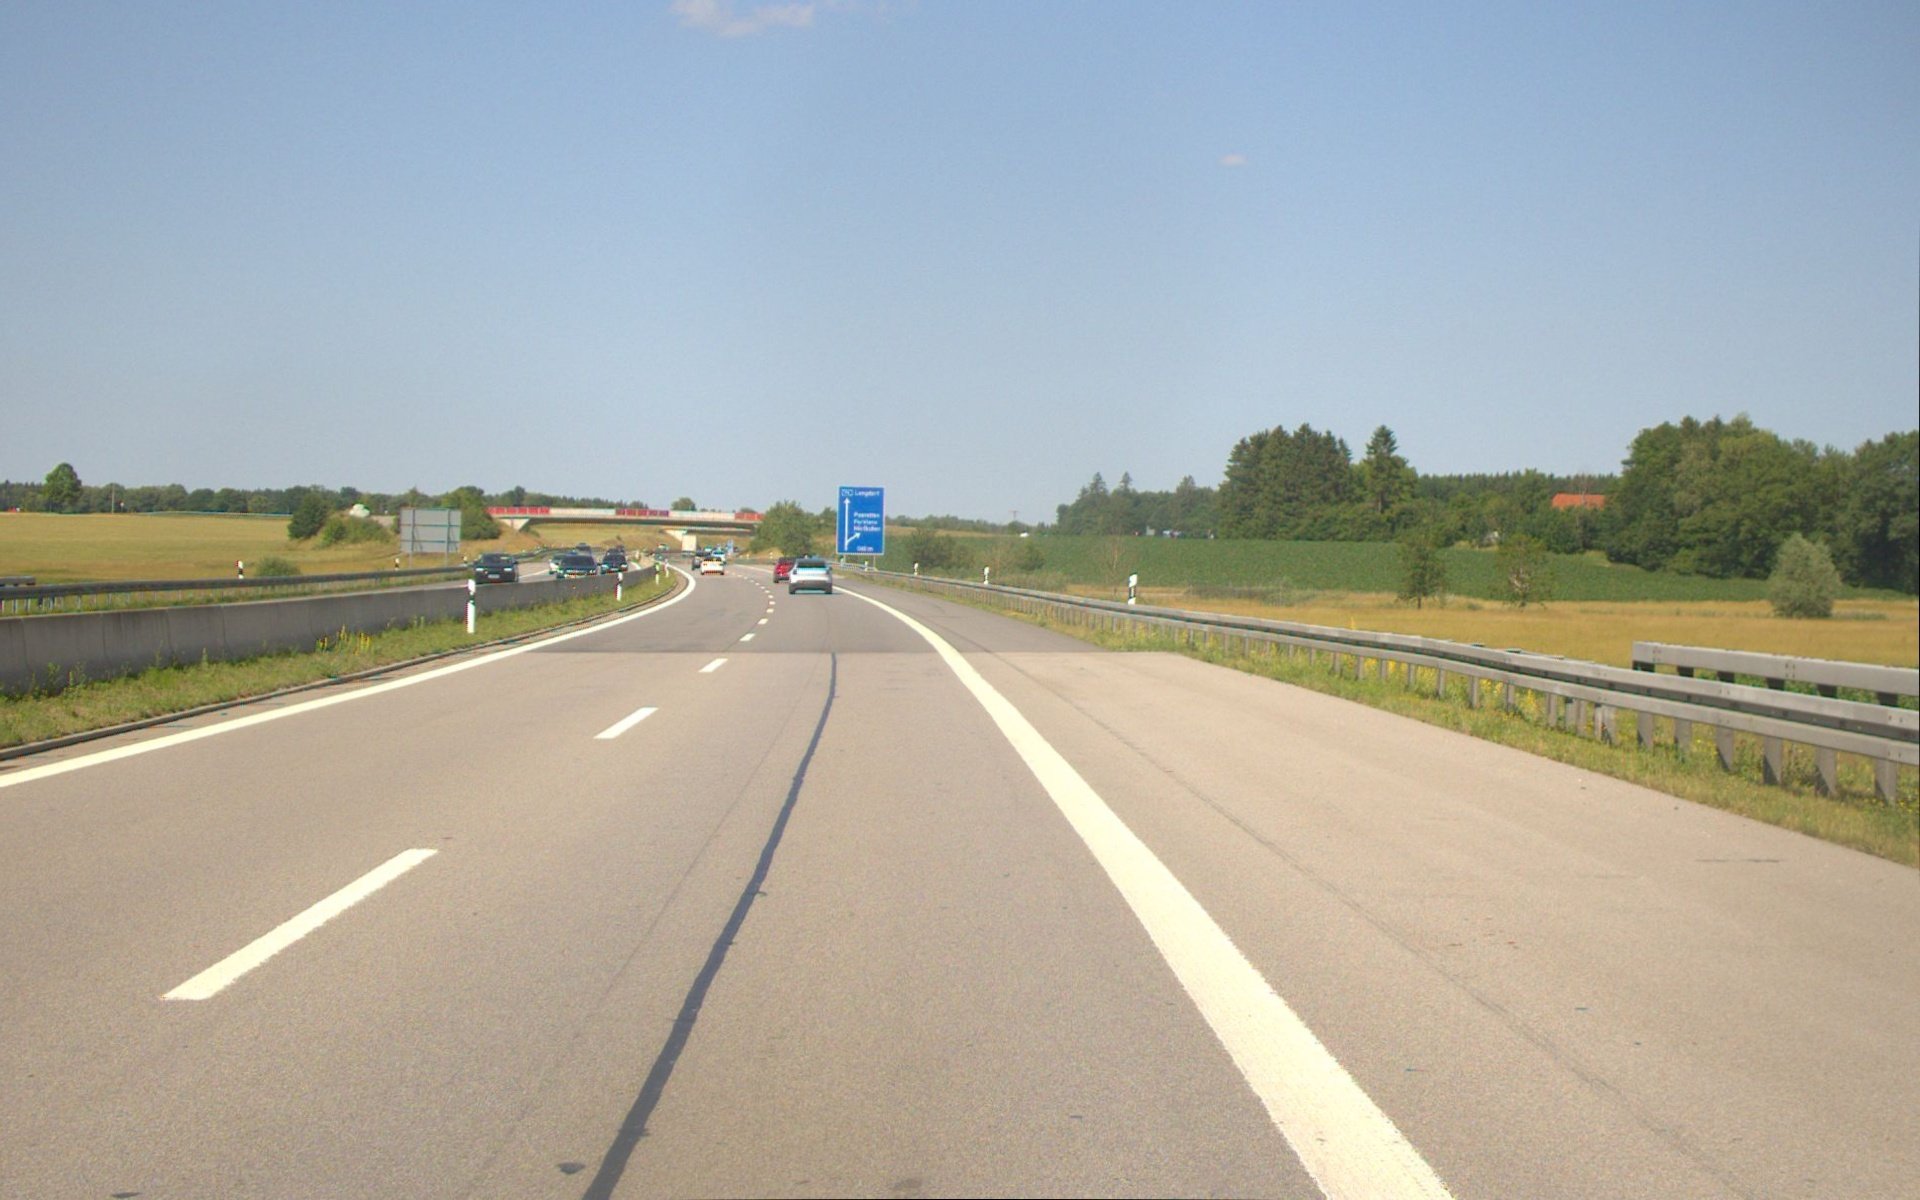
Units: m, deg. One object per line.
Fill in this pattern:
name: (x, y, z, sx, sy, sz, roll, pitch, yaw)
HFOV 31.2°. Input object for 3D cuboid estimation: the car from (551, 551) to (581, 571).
car: (-27.868, -2.787, 243.330, 1.822, 1.360, 5.296, 0, 1, -4)

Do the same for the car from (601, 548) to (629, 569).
car: (-23.598, -2.842, 235.341, 1.822, 1.360, 4.661, 0, 1, -5)

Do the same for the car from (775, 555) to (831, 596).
car: (-6.860, -1.086, 149.943, 1.993, 1.725, 4.870, 1, 1, -8)

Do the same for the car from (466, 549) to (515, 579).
car: (-21.716, -1.683, 159.108, 1.822, 1.360, 4.664, 0, 1, -2)

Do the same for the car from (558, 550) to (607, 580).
car: (-17.760, -1.657, 161.974, 1.823, 1.360, 5.198, 0, 1, -1)

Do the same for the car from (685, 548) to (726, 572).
car: (-18.990, -2.961, 256.177, 1.993, 1.725, 4.871, 1, 1, -18)
